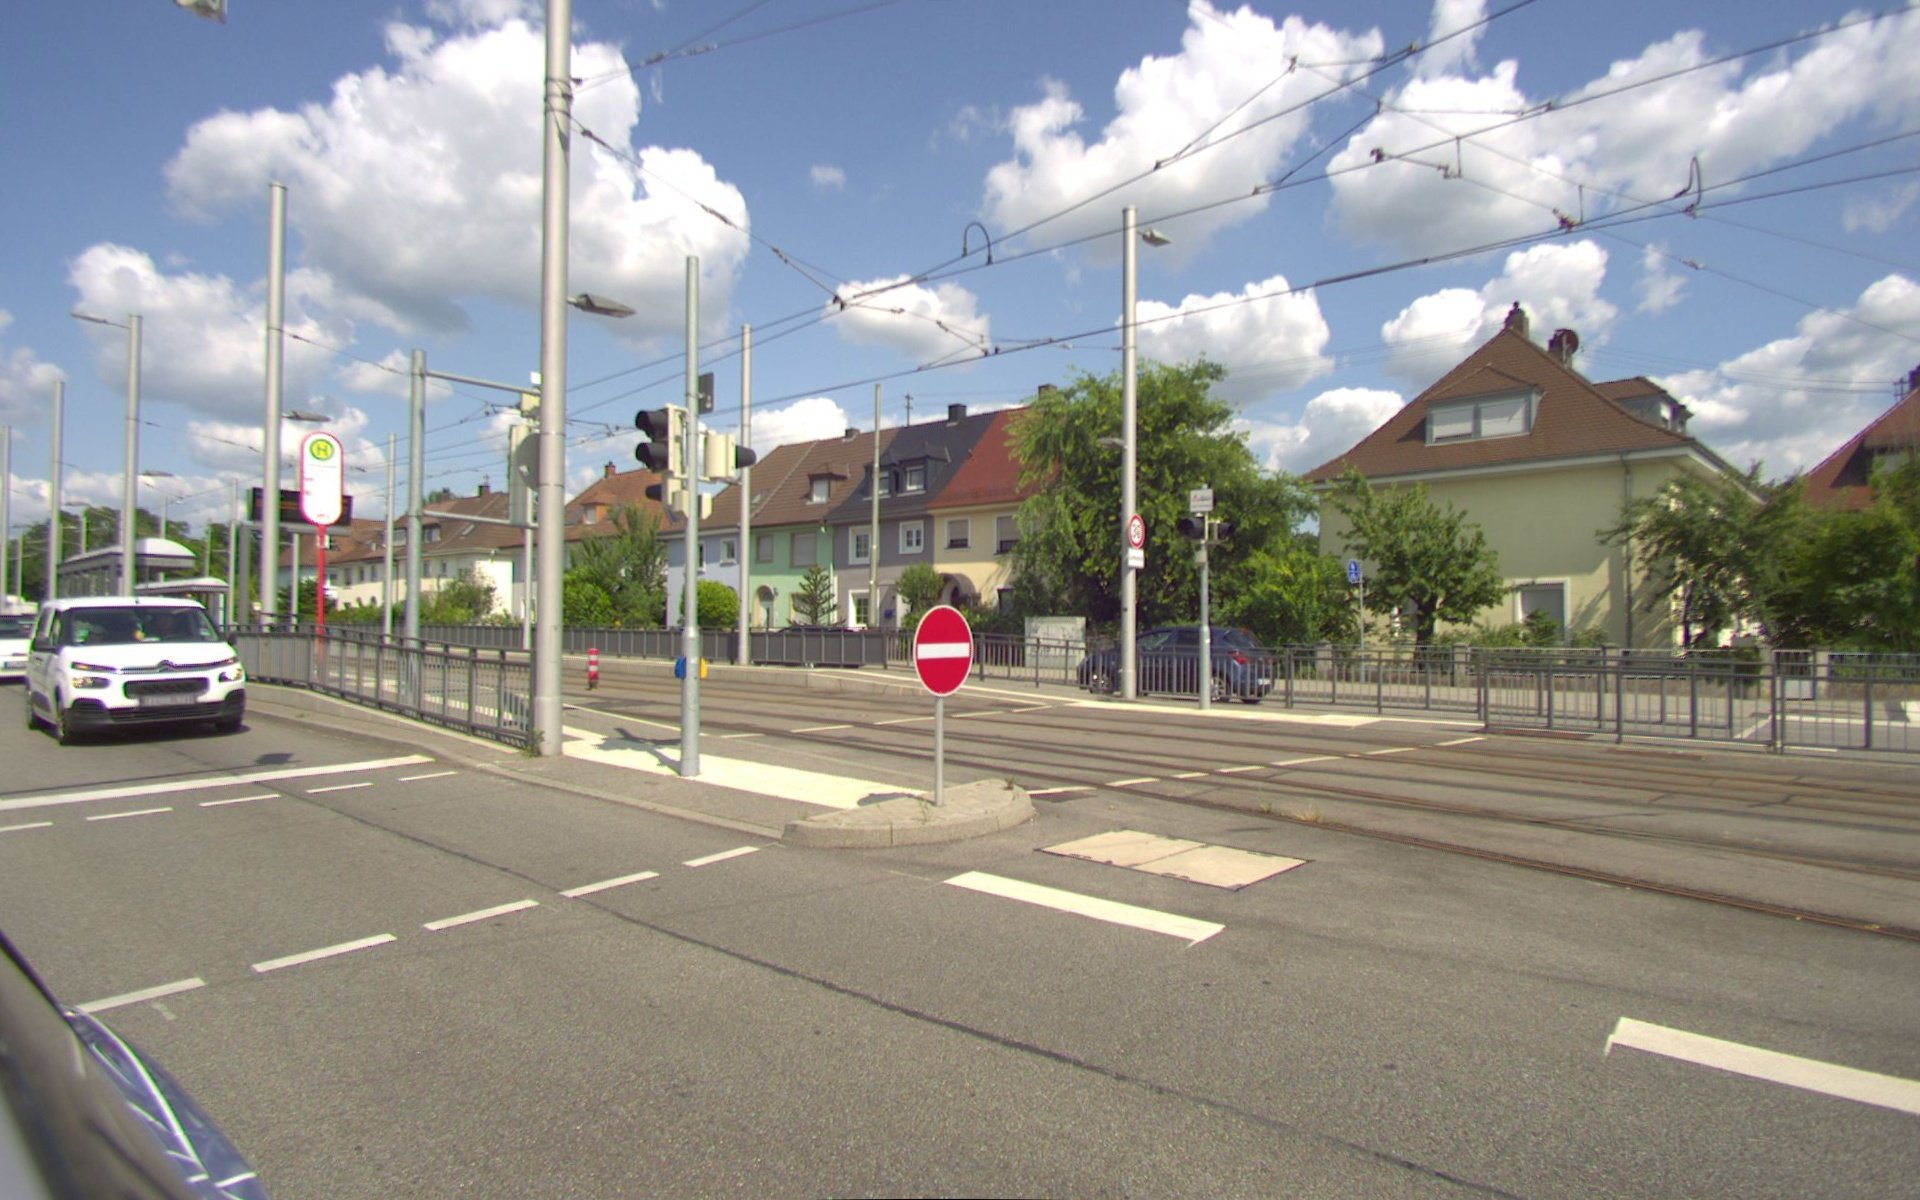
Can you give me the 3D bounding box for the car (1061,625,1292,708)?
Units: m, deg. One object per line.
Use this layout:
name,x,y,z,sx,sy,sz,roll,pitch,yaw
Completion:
car,4.149,1.227,19.811,4.177,1.362,1.666,0,0,42

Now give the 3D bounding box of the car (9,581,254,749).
car,-10.835,0.715,13.128,4.327,1.829,1.776,0,0,41

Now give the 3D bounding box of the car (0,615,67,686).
car,-22.027,1.124,23.281,3.389,1.515,1.660,-1,0,38

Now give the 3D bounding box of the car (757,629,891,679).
car,-4.316,1.650,31.694,4.341,1.362,1.667,0,0,40
